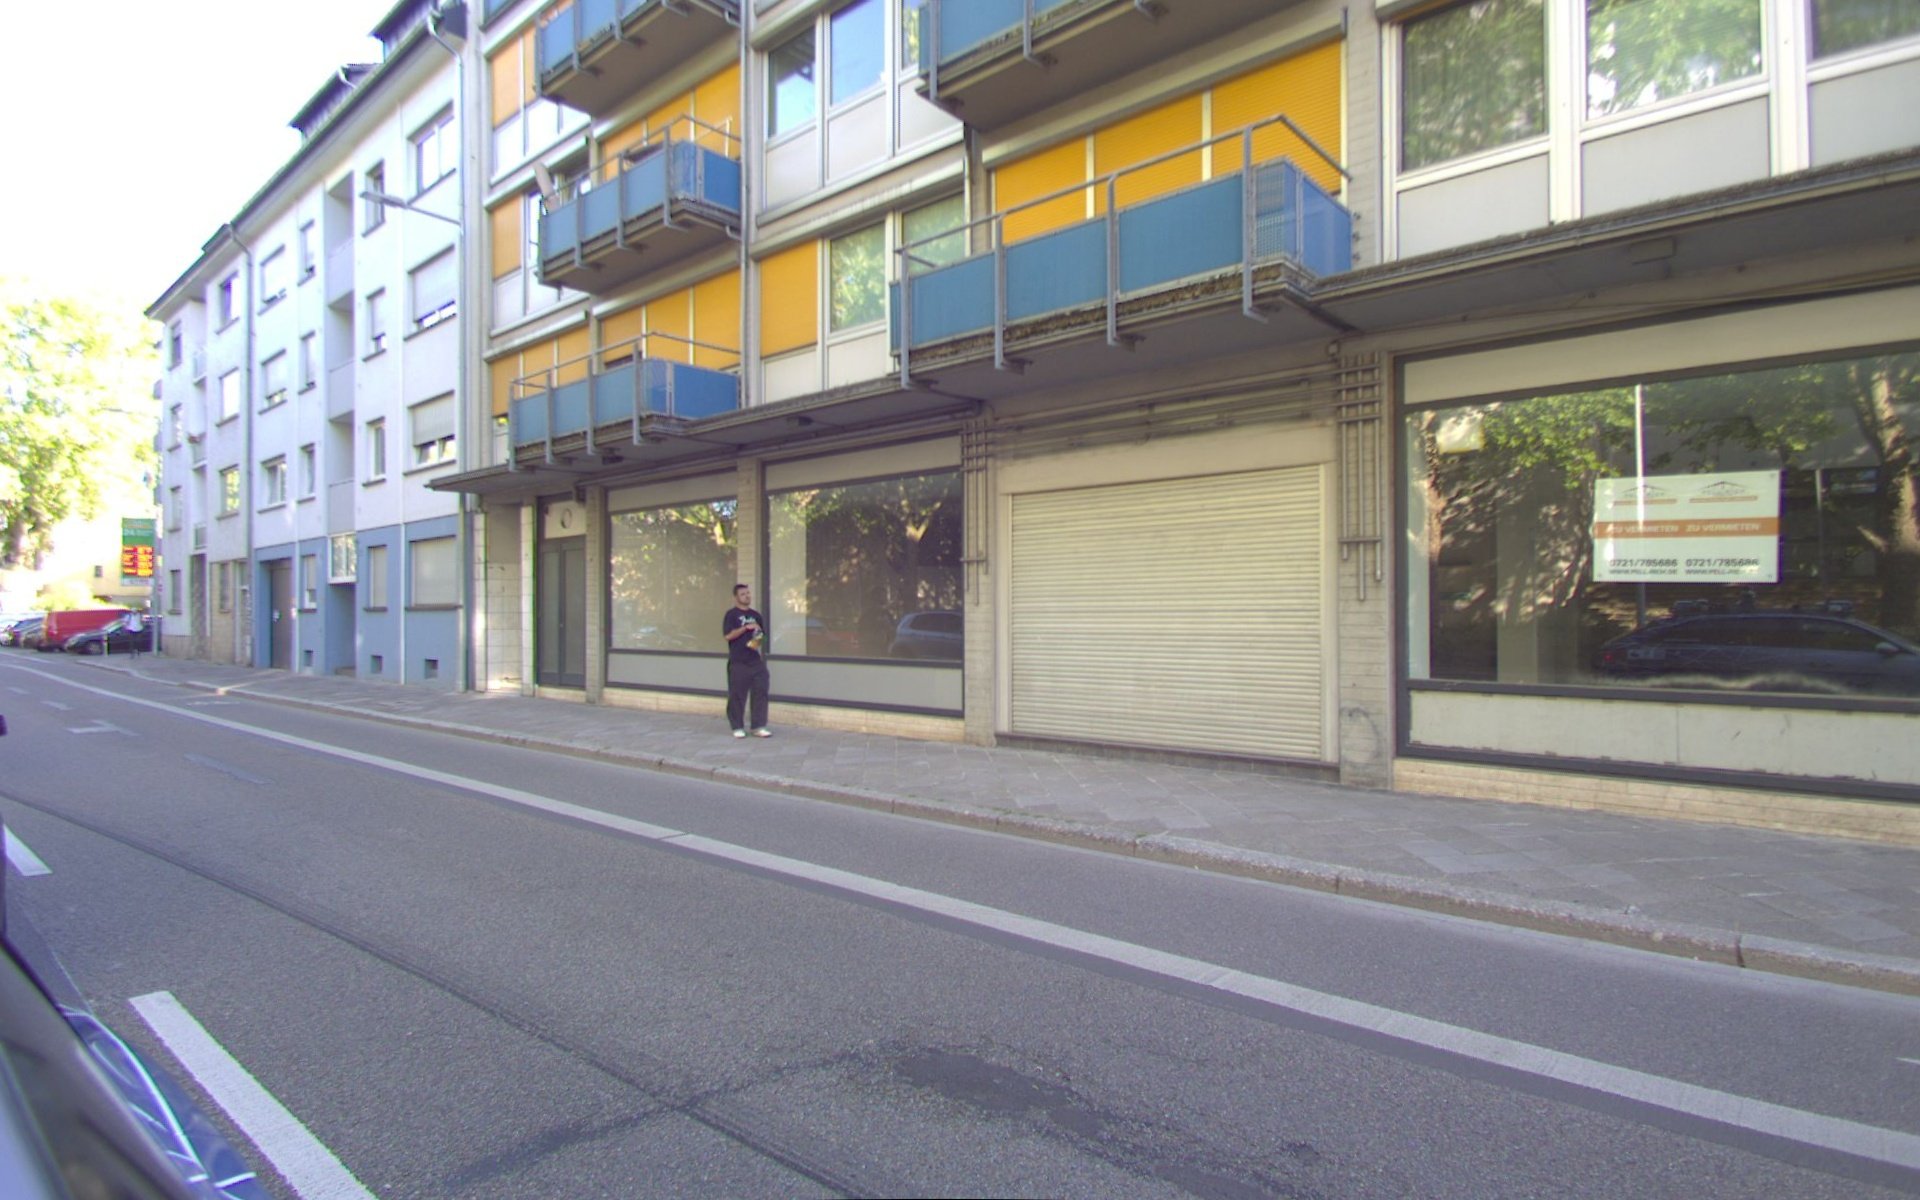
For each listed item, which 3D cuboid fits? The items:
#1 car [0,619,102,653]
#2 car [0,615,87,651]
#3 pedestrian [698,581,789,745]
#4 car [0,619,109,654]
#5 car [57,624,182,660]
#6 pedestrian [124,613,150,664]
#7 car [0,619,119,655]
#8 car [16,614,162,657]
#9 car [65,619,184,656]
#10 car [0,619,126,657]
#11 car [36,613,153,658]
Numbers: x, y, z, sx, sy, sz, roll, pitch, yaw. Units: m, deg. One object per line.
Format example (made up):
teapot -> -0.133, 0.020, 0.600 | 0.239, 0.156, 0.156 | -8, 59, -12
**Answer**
car -> -55.966, 2.157, 61.981 | 2.314, 1.952, 4.978 | -1, -1, 41
car -> -59.341, 2.096, 64.707 | 2.186, 2.164, 5.077 | -1, -1, 41
pedestrian -> -2.477, 0.691, 11.576 | 0.793, 1.785, 0.655 | -1, -1, 41
car -> -54.118, 2.129, 60.350 | 2.082, 1.952, 4.928 | -1, -1, 41
car -> -36.547, 1.786, 44.073 | 1.742, 1.431, 3.946 | -1, -1, 41
pedestrian -> -29.188, 1.362, 35.890 | 0.756, 1.760, 0.600 | -1, 0, 41
car -> -52.233, 2.108, 58.713 | 2.159, 1.952, 4.990 | -1, -1, 41
car -> -42.686, 1.699, 49.709 | 2.256, 1.995, 5.156 | -1, -1, 41
car -> -37.872, 1.676, 45.938 | 1.742, 1.572, 3.946 | -1, -1, 41
car -> -50.293, 2.085, 56.825 | 2.186, 1.952, 5.077 | -1, -1, 41
car -> -40.585, 1.632, 47.512 | 1.866, 1.952, 3.946 | -1, -1, 41
